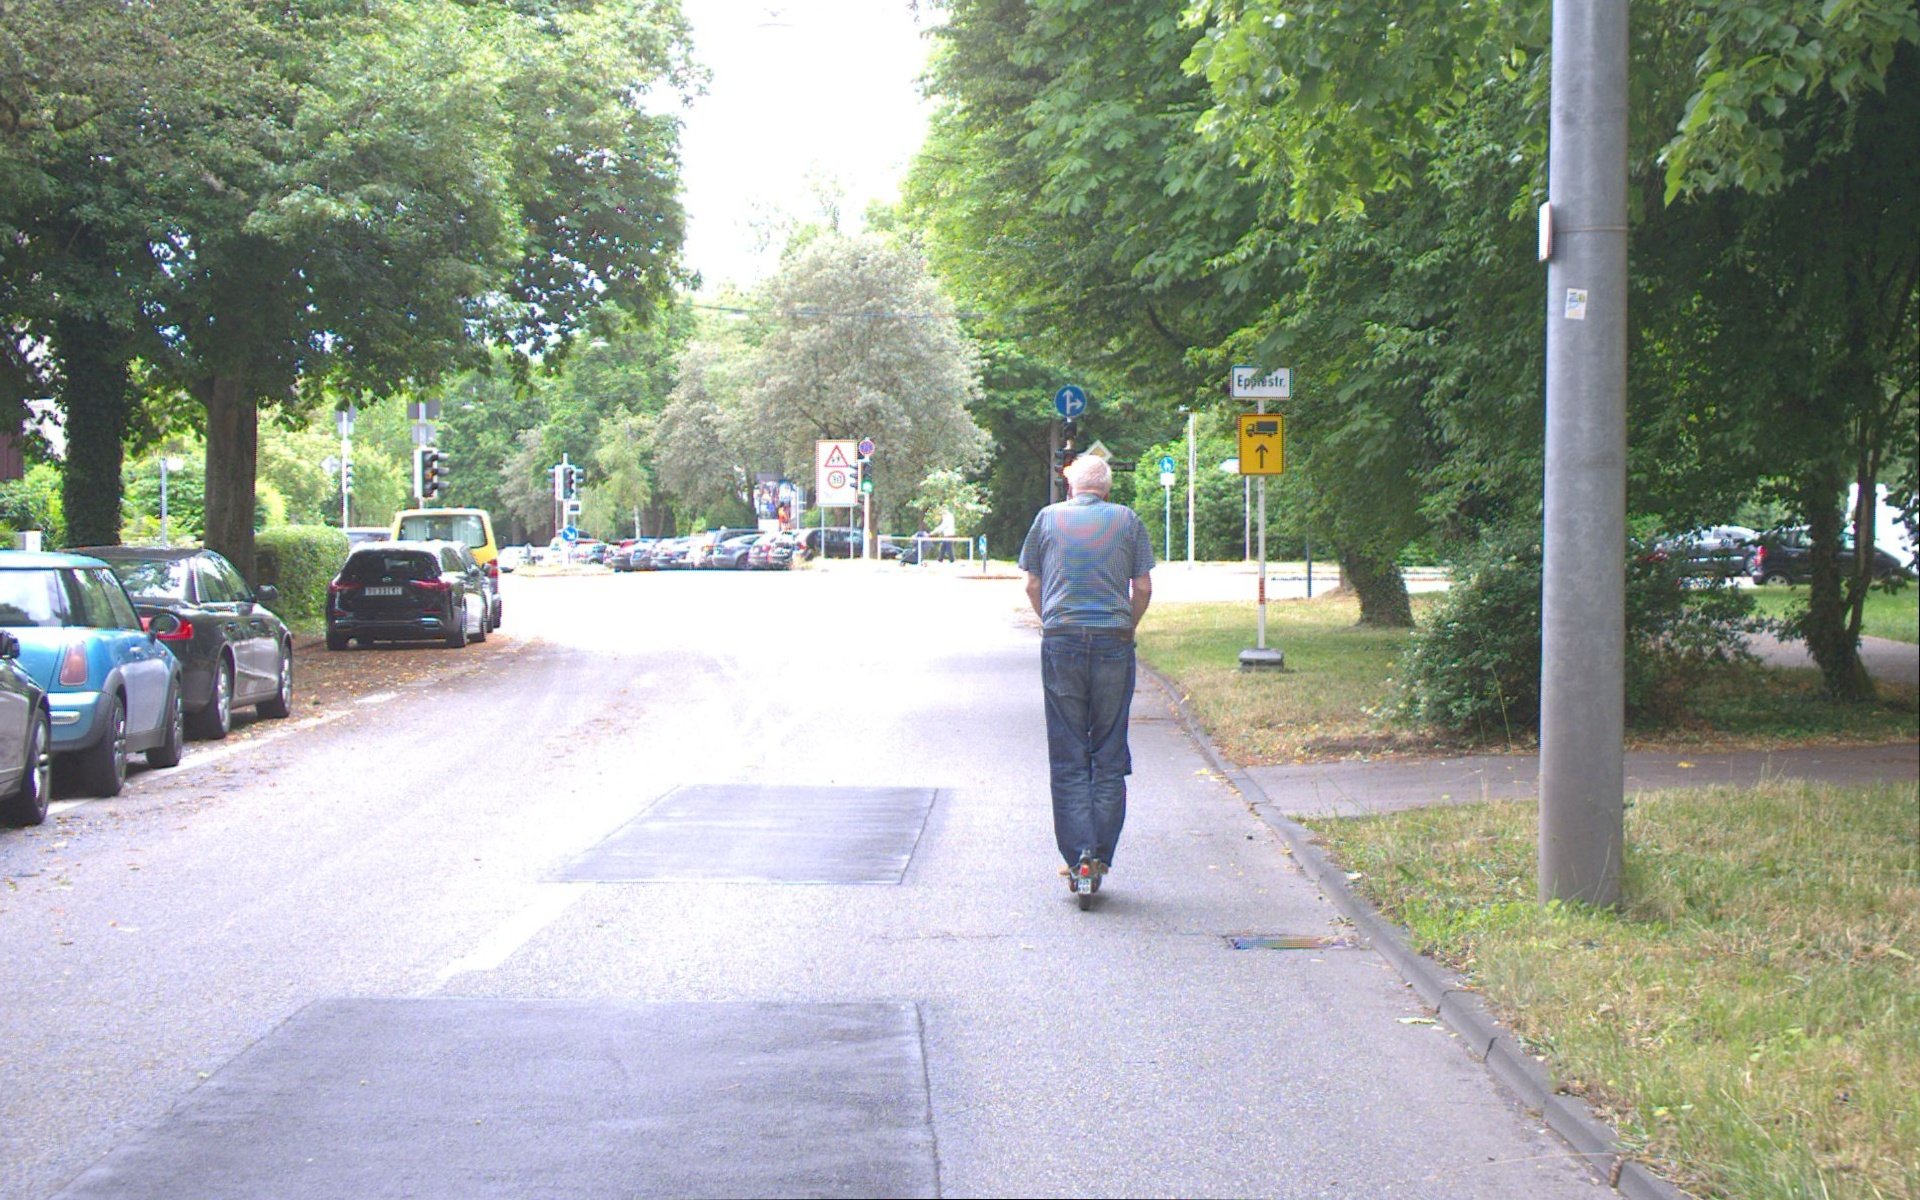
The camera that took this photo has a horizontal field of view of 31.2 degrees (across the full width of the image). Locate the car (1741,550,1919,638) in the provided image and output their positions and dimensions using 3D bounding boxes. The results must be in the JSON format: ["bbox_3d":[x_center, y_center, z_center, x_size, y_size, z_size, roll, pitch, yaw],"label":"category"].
[{"bbox_3d":[19.604,-0.150,76.646,3.992,1.720,1.798,2,4,22],"label":"car"}]

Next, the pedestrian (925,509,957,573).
[{"bbox_3d":[-0.522,-1.641,95.363,0.733,1.756,0.661,0,1,16],"label":"pedestrian"}]

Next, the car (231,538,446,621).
[{"bbox_3d":[-11.875,-0.402,65.860,3.986,1.505,1.801,0,3,-8],"label":"car"}]

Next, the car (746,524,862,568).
[{"bbox_3d":[-5.507,-1.905,121.355,3.986,1.505,1.800,-1,1,-5],"label":"car"}]

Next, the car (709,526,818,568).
[{"bbox_3d":[-7.329,-1.987,128.115,3.986,1.505,1.800,-1,1,-5],"label":"car"}]

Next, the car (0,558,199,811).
[{"bbox_3d":[-5.761,0.458,21.083,1.664,1.387,3.707,-1,1,-5],"label":"car"}]

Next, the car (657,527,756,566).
[{"bbox_3d":[-10.388,-2.183,140.599,3.986,1.505,1.800,-1,1,-5],"label":"car"}]

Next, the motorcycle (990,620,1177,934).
[{"bbox_3d":[0.501,0.711,14.385,0.673,1.213,1.274,1,1,-2],"label":"motorcycle"}]

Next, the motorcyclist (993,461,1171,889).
[{"bbox_3d":[0.507,0.305,14.515,0.673,1.755,0.639,1,1,-2],"label":"motorcyclist"}]

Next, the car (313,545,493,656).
[{"bbox_3d":[-7.533,-0.016,46.858,1.891,1.405,4.554,-1,1,-3],"label":"car"}]

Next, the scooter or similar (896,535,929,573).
[{"bbox_3d":[-1.327,-1.288,95.502,0.710,1.045,0.787,0,1,16],"label":"scooter or similar"}]

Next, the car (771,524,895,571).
[{"bbox_3d":[-4.244,-1.753,114.271,3.986,1.505,1.800,-1,1,-5],"label":"car"}]

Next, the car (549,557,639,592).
[{"bbox_3d":[-16.476,-1.173,154.776,3.986,1.505,1.800,-1,1,-5],"label":"car"}]

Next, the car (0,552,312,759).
[{"bbox_3d":[-6.245,0.358,26.423,1.794,1.405,4.645,-1,1,-2],"label":"car"}]

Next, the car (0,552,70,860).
[{"bbox_3d":[-5.484,0.528,16.214,1.794,1.467,4.419,-1,1,-5],"label":"car"}]

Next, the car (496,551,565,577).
[{"bbox_3d":[-25.653,-2.162,205.365,3.986,1.505,1.800,-1,1,-5],"label":"car"}]

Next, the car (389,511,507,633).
[{"bbox_3d":[-8.607,-0.472,57.861,1.857,1.957,4.505,-1,1,-8],"label":"car"}]
